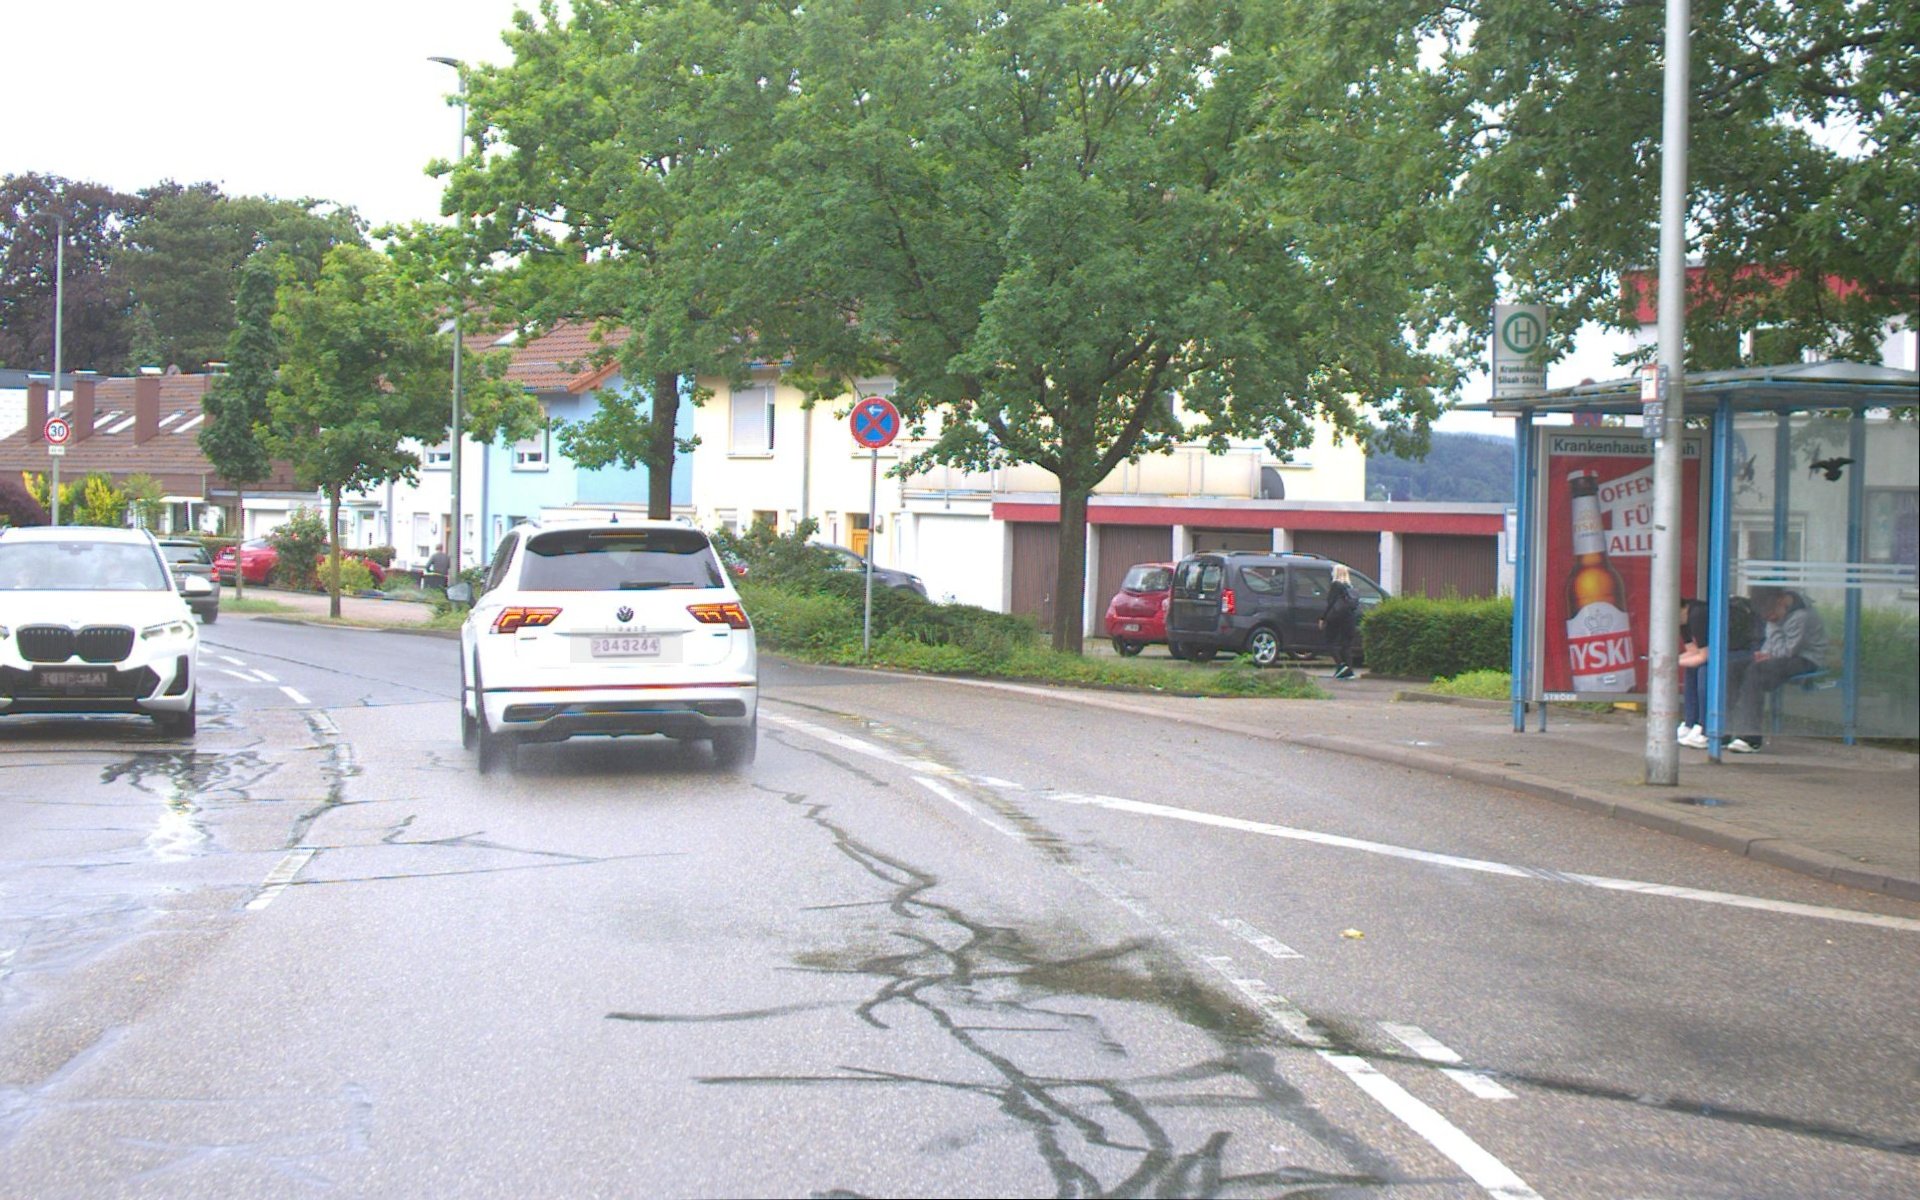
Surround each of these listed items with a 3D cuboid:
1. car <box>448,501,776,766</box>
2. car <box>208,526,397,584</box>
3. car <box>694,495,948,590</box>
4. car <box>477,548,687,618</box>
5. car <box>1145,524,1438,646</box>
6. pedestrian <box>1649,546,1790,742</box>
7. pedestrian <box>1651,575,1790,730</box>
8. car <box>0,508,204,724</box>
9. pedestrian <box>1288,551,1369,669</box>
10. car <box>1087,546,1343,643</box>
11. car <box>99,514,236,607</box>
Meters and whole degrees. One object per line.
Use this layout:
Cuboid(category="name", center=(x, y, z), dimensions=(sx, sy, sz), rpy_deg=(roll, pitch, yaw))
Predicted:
Cuboid(category="car", center=(-2.468, 0.159, 23.531), dimensions=(1.864, 1.645, 4.001), rpy_deg=(0, 1, -11))
Cuboid(category="car", center=(-16.167, -1.099, 84.624), dimensions=(4.305, 1.256, 1.678), rpy_deg=(2, 1, -43))
Cuboid(category="car", center=(-2.527, -1.049, 62.719), dimensions=(4.179, 1.666, 1.992), rpy_deg=(0, 1, -33))
Cuboid(category="car", center=(-7.742, -0.374, 70.612), dimensions=(3.988, 1.382, 1.674), rpy_deg=(-1, 2, -36))
Cuboid(category="car", center=(4.911, -0.230, 50.767), dimensions=(3.987, 1.715, 1.924), rpy_deg=(0, 1, -35))
Cuboid(category="pedestrian", center=(4.954, 0.280, 22.436), dimensions=(0.726, 1.246, 0.551), rpy_deg=(1, 1, -7))
Cuboid(category="pedestrian", center=(5.122, 0.349, 23.180), dimensions=(0.748, 1.008, 0.551), rpy_deg=(1, 1, -7))
Cuboid(category="car", center=(-7.205, 0.062, 28.064), dimensions=(1.890, 1.606, 4.867), rpy_deg=(0, 1, -11))
Cuboid(category="pedestrian", center=(4.979, 0.129, 46.457), dimensions=(0.664, 1.552, 0.842), rpy_deg=(0, 1, -39))
Cuboid(category="car", center=(3.974, -0.091, 53.382), dimensions=(3.692, 1.437, 1.707), rpy_deg=(0, 1, -35))
Cuboid(category="car", center=(-13.941, -0.720, 60.320), dimensions=(1.768, 1.546, 4.001), rpy_deg=(1, 1, -21))
